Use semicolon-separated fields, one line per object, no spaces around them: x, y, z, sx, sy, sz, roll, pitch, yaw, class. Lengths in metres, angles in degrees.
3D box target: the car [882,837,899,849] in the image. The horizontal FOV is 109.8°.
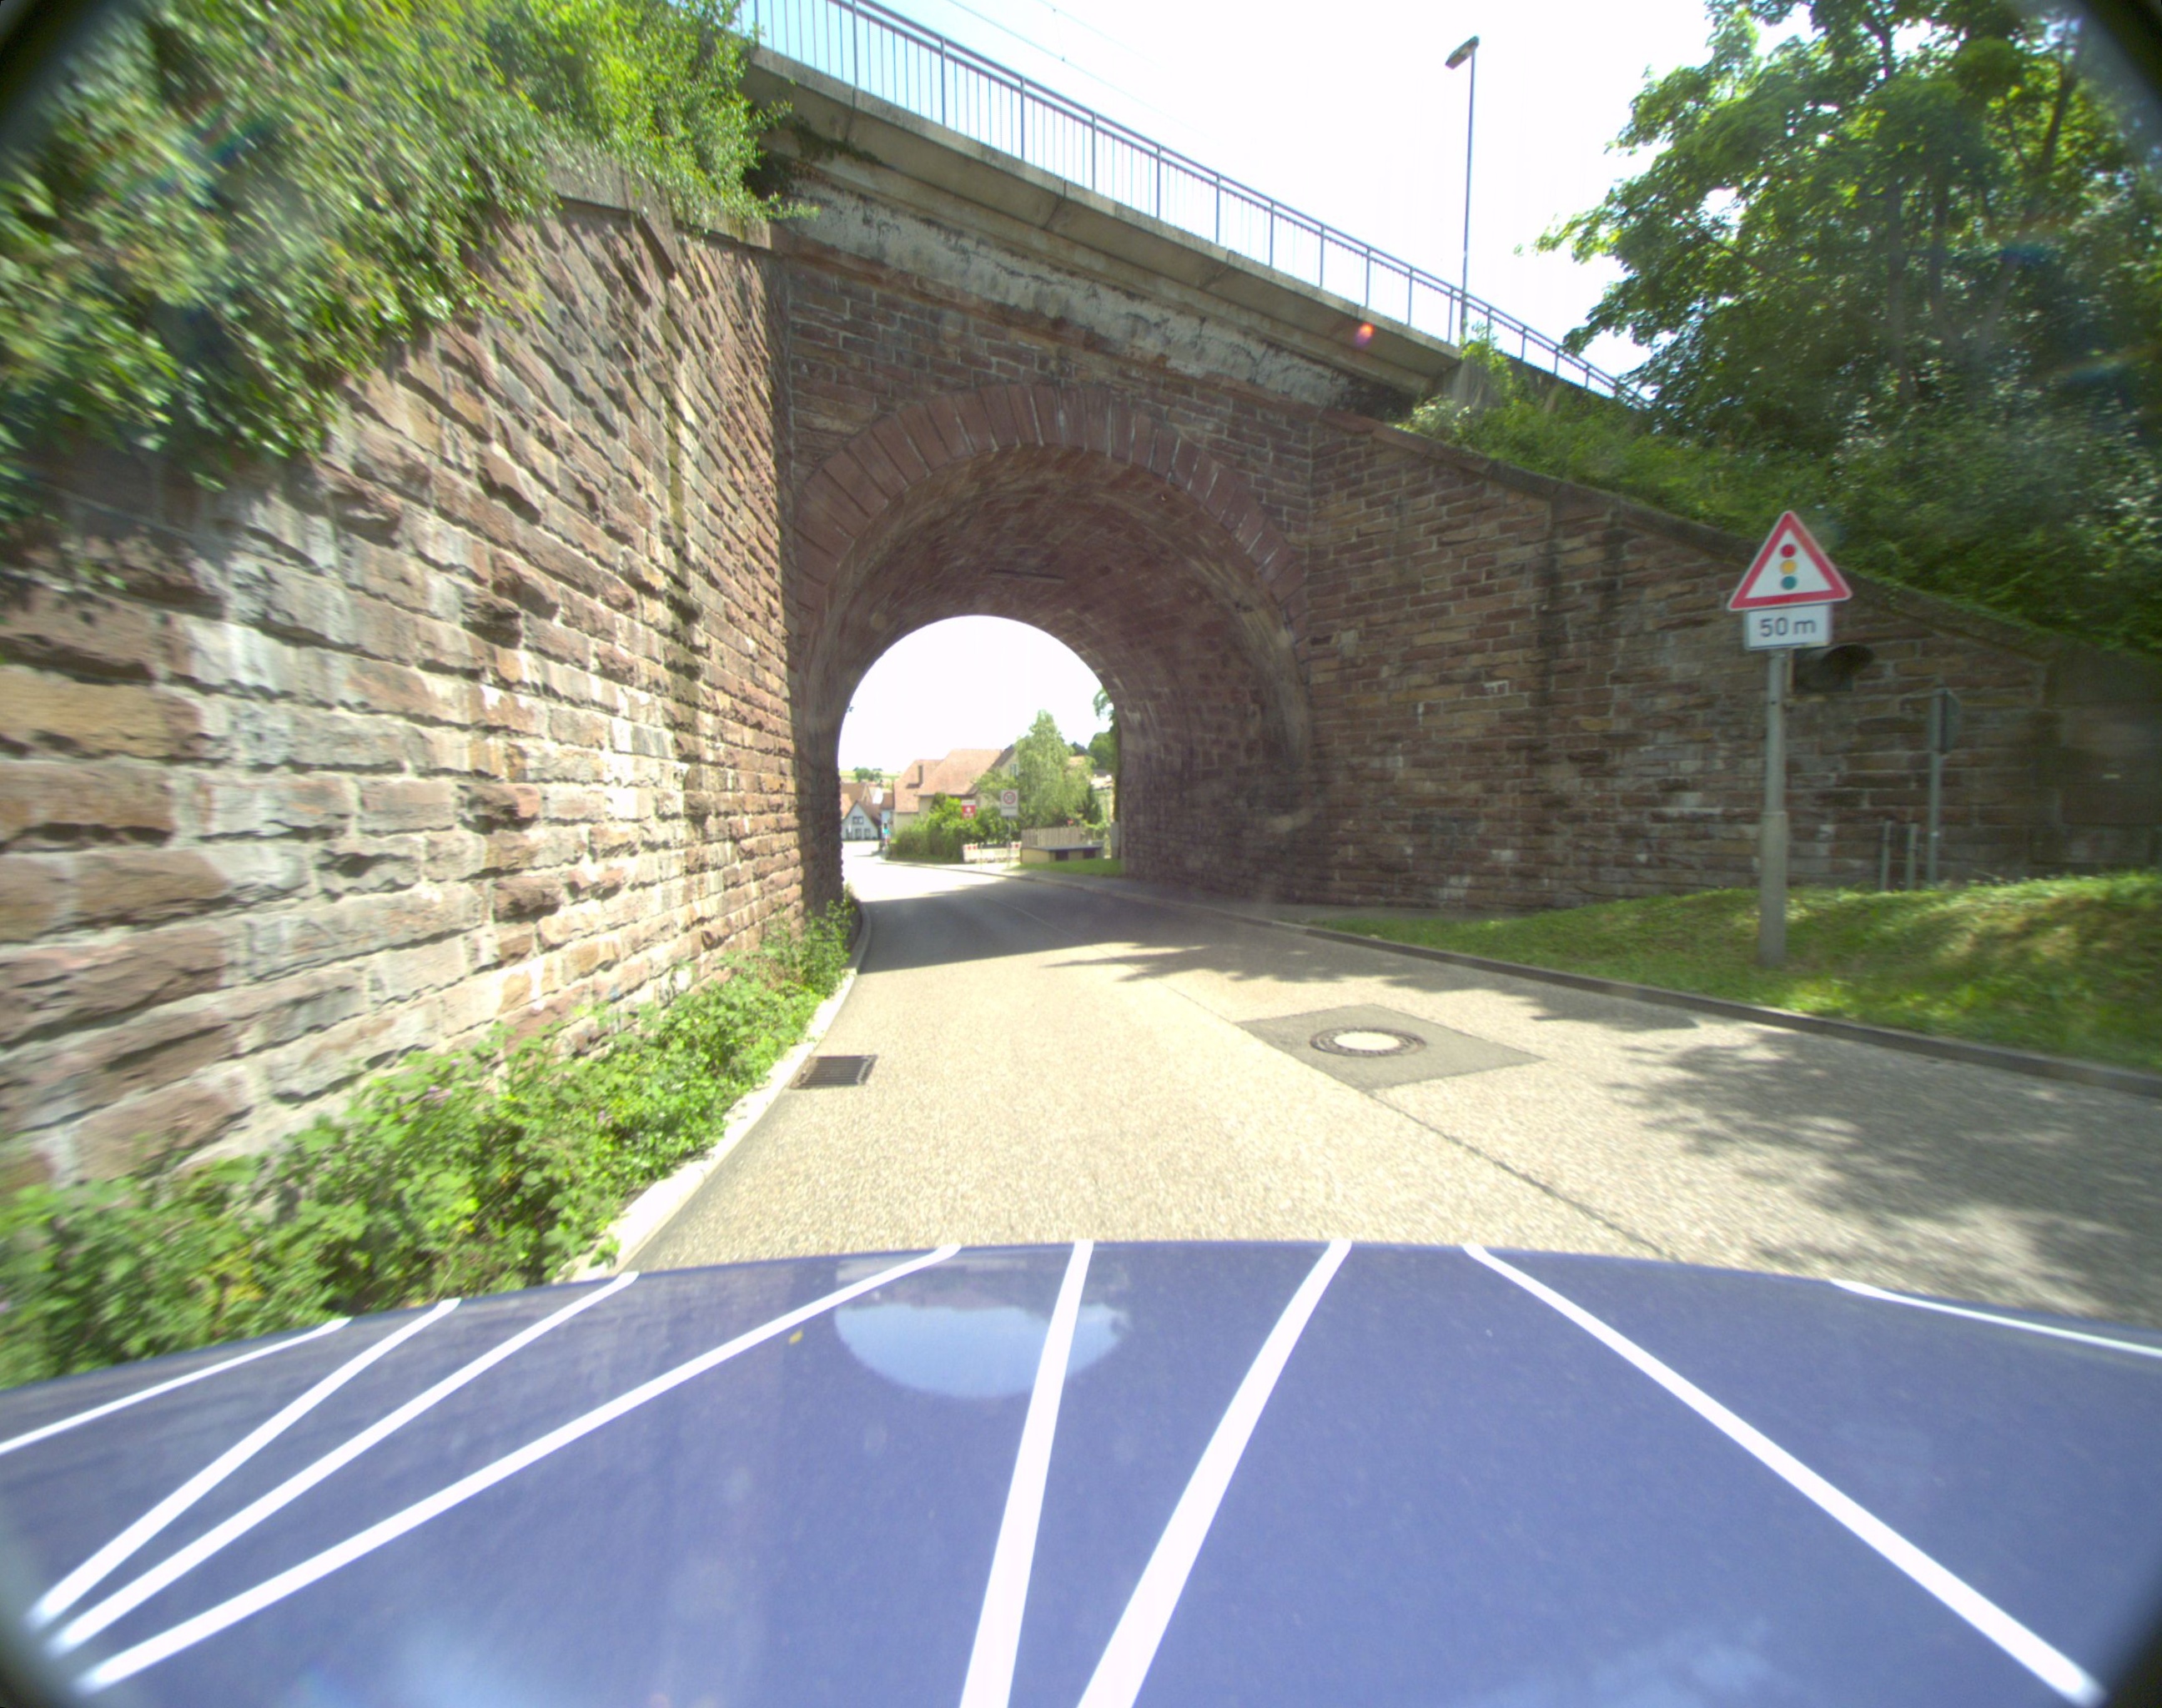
-28.363;-1.683;113.286;1.830;1.642;3.997;-2;1;-4;car
